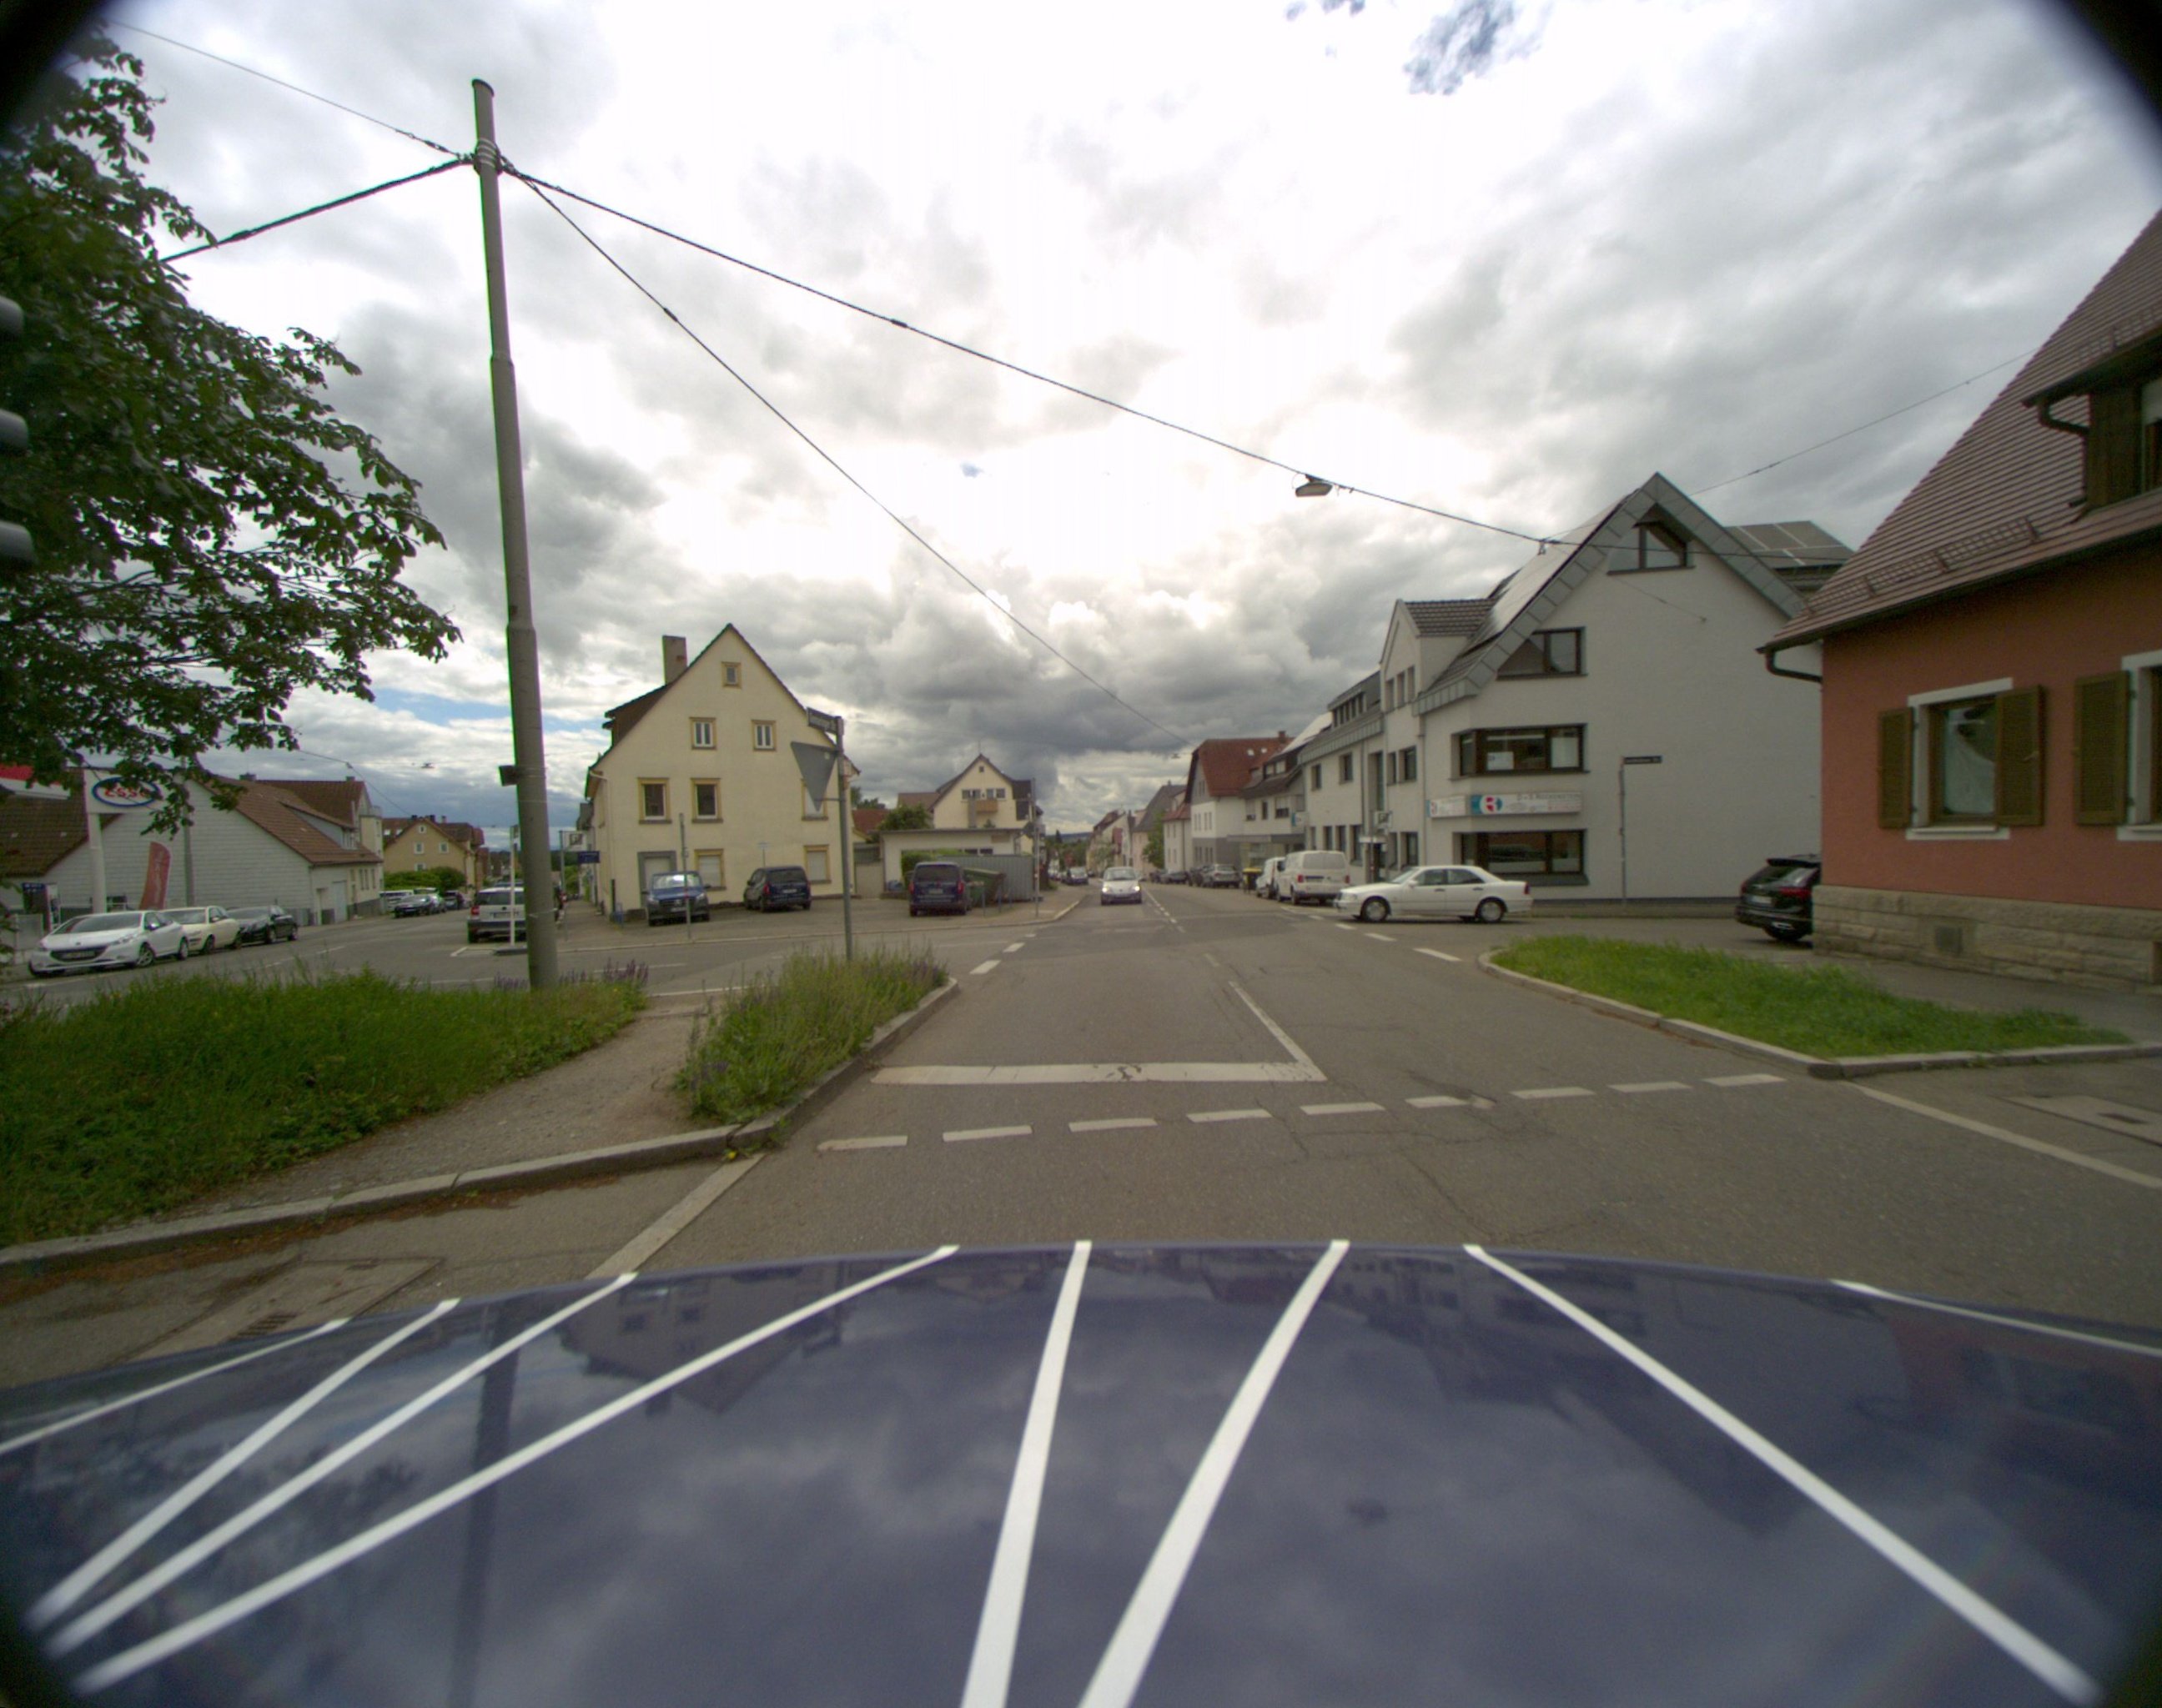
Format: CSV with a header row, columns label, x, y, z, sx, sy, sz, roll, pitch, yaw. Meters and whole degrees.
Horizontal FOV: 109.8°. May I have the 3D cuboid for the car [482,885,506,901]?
label,x,y,z,sx,sy,sz,roll,pitch,yaw
car,-79.299,5.298,102.700,2.003,2.001,3.992,-4,-1,-32

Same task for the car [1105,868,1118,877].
label,x,y,z,sx,sy,sz,roll,pitch,yaw
car,5.090,3.103,126.485,1.707,1.523,3.735,1,-1,-4

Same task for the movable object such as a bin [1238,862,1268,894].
label,x,y,z,sx,sy,sz,roll,pitch,yaw
movable object such as a bin,9.127,1.270,40.289,1.143,1.623,1.563,0,-1,-3

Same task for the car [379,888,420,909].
label,x,y,z,sx,sy,sz,roll,pitch,yaw
car,-57.407,3.705,64.039,1.879,1.586,3.892,-4,-1,-33

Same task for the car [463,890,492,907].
label,x,y,z,sx,sy,sz,roll,pitch,yaw
car,-61.906,4.560,77.961,1.879,1.586,3.892,-4,-1,-33

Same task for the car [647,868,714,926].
label,x,y,z,sx,sy,sz,roll,pitch,yaw
car,-14.703,1.540,27.889,1.905,1.792,4.884,-4,-1,-28

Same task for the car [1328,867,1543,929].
label,x,y,z,sx,sy,sz,roll,pitch,yaw
car,8.778,1.058,19.228,4.562,1.436,2.002,0,0,8

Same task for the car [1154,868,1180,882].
label,x,y,z,sx,sy,sz,roll,pitch,yaw
car,8.760,2.134,77.511,1.843,1.436,3.998,0,-1,-6

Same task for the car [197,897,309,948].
label,x,y,z,sx,sy,sz,roll,pitch,yaw
car,-29.996,2.418,27.669,1.725,1.586,3.991,-4,-1,-33

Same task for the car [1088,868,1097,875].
label,x,y,z,sx,sy,sz,roll,pitch,yaw
car,2.413,3.830,163.536,1.707,1.523,3.735,1,-1,-4

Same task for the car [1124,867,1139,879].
label,x,y,z,sx,sy,sz,roll,pitch,yaw
car,6.547,2.491,99.403,1.654,1.438,3.774,-1,-1,-1

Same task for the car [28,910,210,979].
label,x,y,z,sx,sy,sz,roll,pitch,yaw
car,-24.604,2.245,19.627,1.778,1.470,3.822,0,-3,-33

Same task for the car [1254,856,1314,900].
label,x,y,z,sx,sy,sz,roll,pitch,yaw
car,9.013,1.049,34.090,1.737,1.821,4.299,0,-1,3

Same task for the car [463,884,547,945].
label,x,y,z,sx,sy,sz,roll,pitch,yaw
car,-17.860,1.829,23.707,1.778,1.608,3.991,-4,-1,-34

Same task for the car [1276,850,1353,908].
label,x,y,z,sx,sy,sz,roll,pitch,yaw
car,8.624,0.888,28.495,1.816,1.993,4.765,0,-1,5

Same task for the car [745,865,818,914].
label,x,y,z,sx,sy,sz,roll,pitch,yaw
car,-12.080,1.406,30.491,1.872,1.717,3.991,-4,-1,-33

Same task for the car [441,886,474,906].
label,x,y,z,sx,sy,sz,roll,pitch,yaw
car,-57.708,3.880,70.364,1.879,1.586,3.892,-4,-1,-33

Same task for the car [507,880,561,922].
label,x,y,z,sx,sy,sz,roll,pitch,yaw
car,-25.272,2.136,35.205,1.725,1.720,3.991,-4,-1,-33

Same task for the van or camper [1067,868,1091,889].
label,x,y,z,sx,sy,sz,roll,pitch,yaw
van or camper,-0.260,2.536,80.895,1.999,2.001,5.063,-4,-1,-5

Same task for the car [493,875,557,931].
label,x,y,z,sx,sy,sz,roll,pitch,yaw
car,-21.118,1.836,28.972,1.778,1.931,4.314,0,-3,-34

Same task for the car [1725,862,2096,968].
label,x,y,z,sx,sy,sz,roll,pitch,yaw
car,14.141,0.970,13.242,4.052,1.581,1.805,1,1,11

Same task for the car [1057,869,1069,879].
label,x,y,z,sx,sy,sz,roll,pitch,yaw
car,-3.035,3.328,126.368,1.614,1.446,3.858,-4,-1,-4

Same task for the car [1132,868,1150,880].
label,x,y,z,sx,sy,sz,roll,pitch,yaw
car,7.442,2.496,94.215,1.654,1.438,3.810,-1,-1,-4

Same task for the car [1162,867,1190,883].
label,x,y,z,sx,sy,sz,roll,pitch,yaw
car,8.838,1.922,71.043,1.842,1.436,4.467,0,-1,-4

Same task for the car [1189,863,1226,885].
label,x,y,z,sx,sy,sz,roll,pitch,yaw
car,9.466,1.497,57.219,1.842,1.623,4.407,0,-1,-3

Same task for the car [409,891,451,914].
label,x,y,z,sx,sy,sz,roll,pitch,yaw
car,-51.177,3.796,59.769,1.879,1.586,3.892,-4,-1,-33

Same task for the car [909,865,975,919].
label,x,y,z,sx,sy,sz,roll,pitch,yaw
car,-4.775,1.252,26.610,1.751,1.729,4.571,0,-1,-4

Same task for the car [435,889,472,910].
label,x,y,z,sx,sy,sz,roll,pitch,yaw
car,-54.197,3.900,65.687,1.879,1.586,3.892,-4,-1,-33

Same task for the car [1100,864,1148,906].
label,x,y,z,sx,sy,sz,roll,pitch,yaw
car,1.821,1.305,33.099,1.721,1.586,4.000,-4,-1,-1

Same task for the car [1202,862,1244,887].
label,x,y,z,sx,sy,sz,roll,pitch,yaw
car,9.616,1.352,51.813,1.842,1.623,4.407,0,-1,-3

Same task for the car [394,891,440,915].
label,x,y,z,sx,sy,sz,roll,pitch,yaw
car,-48.354,3.555,55.386,1.879,1.586,3.892,-4,-1,-33

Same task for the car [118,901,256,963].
label,x,y,z,sx,sy,sz,roll,pitch,yaw
car,-27.510,2.336,23.540,1.630,1.466,3.759,-2,1,-32
